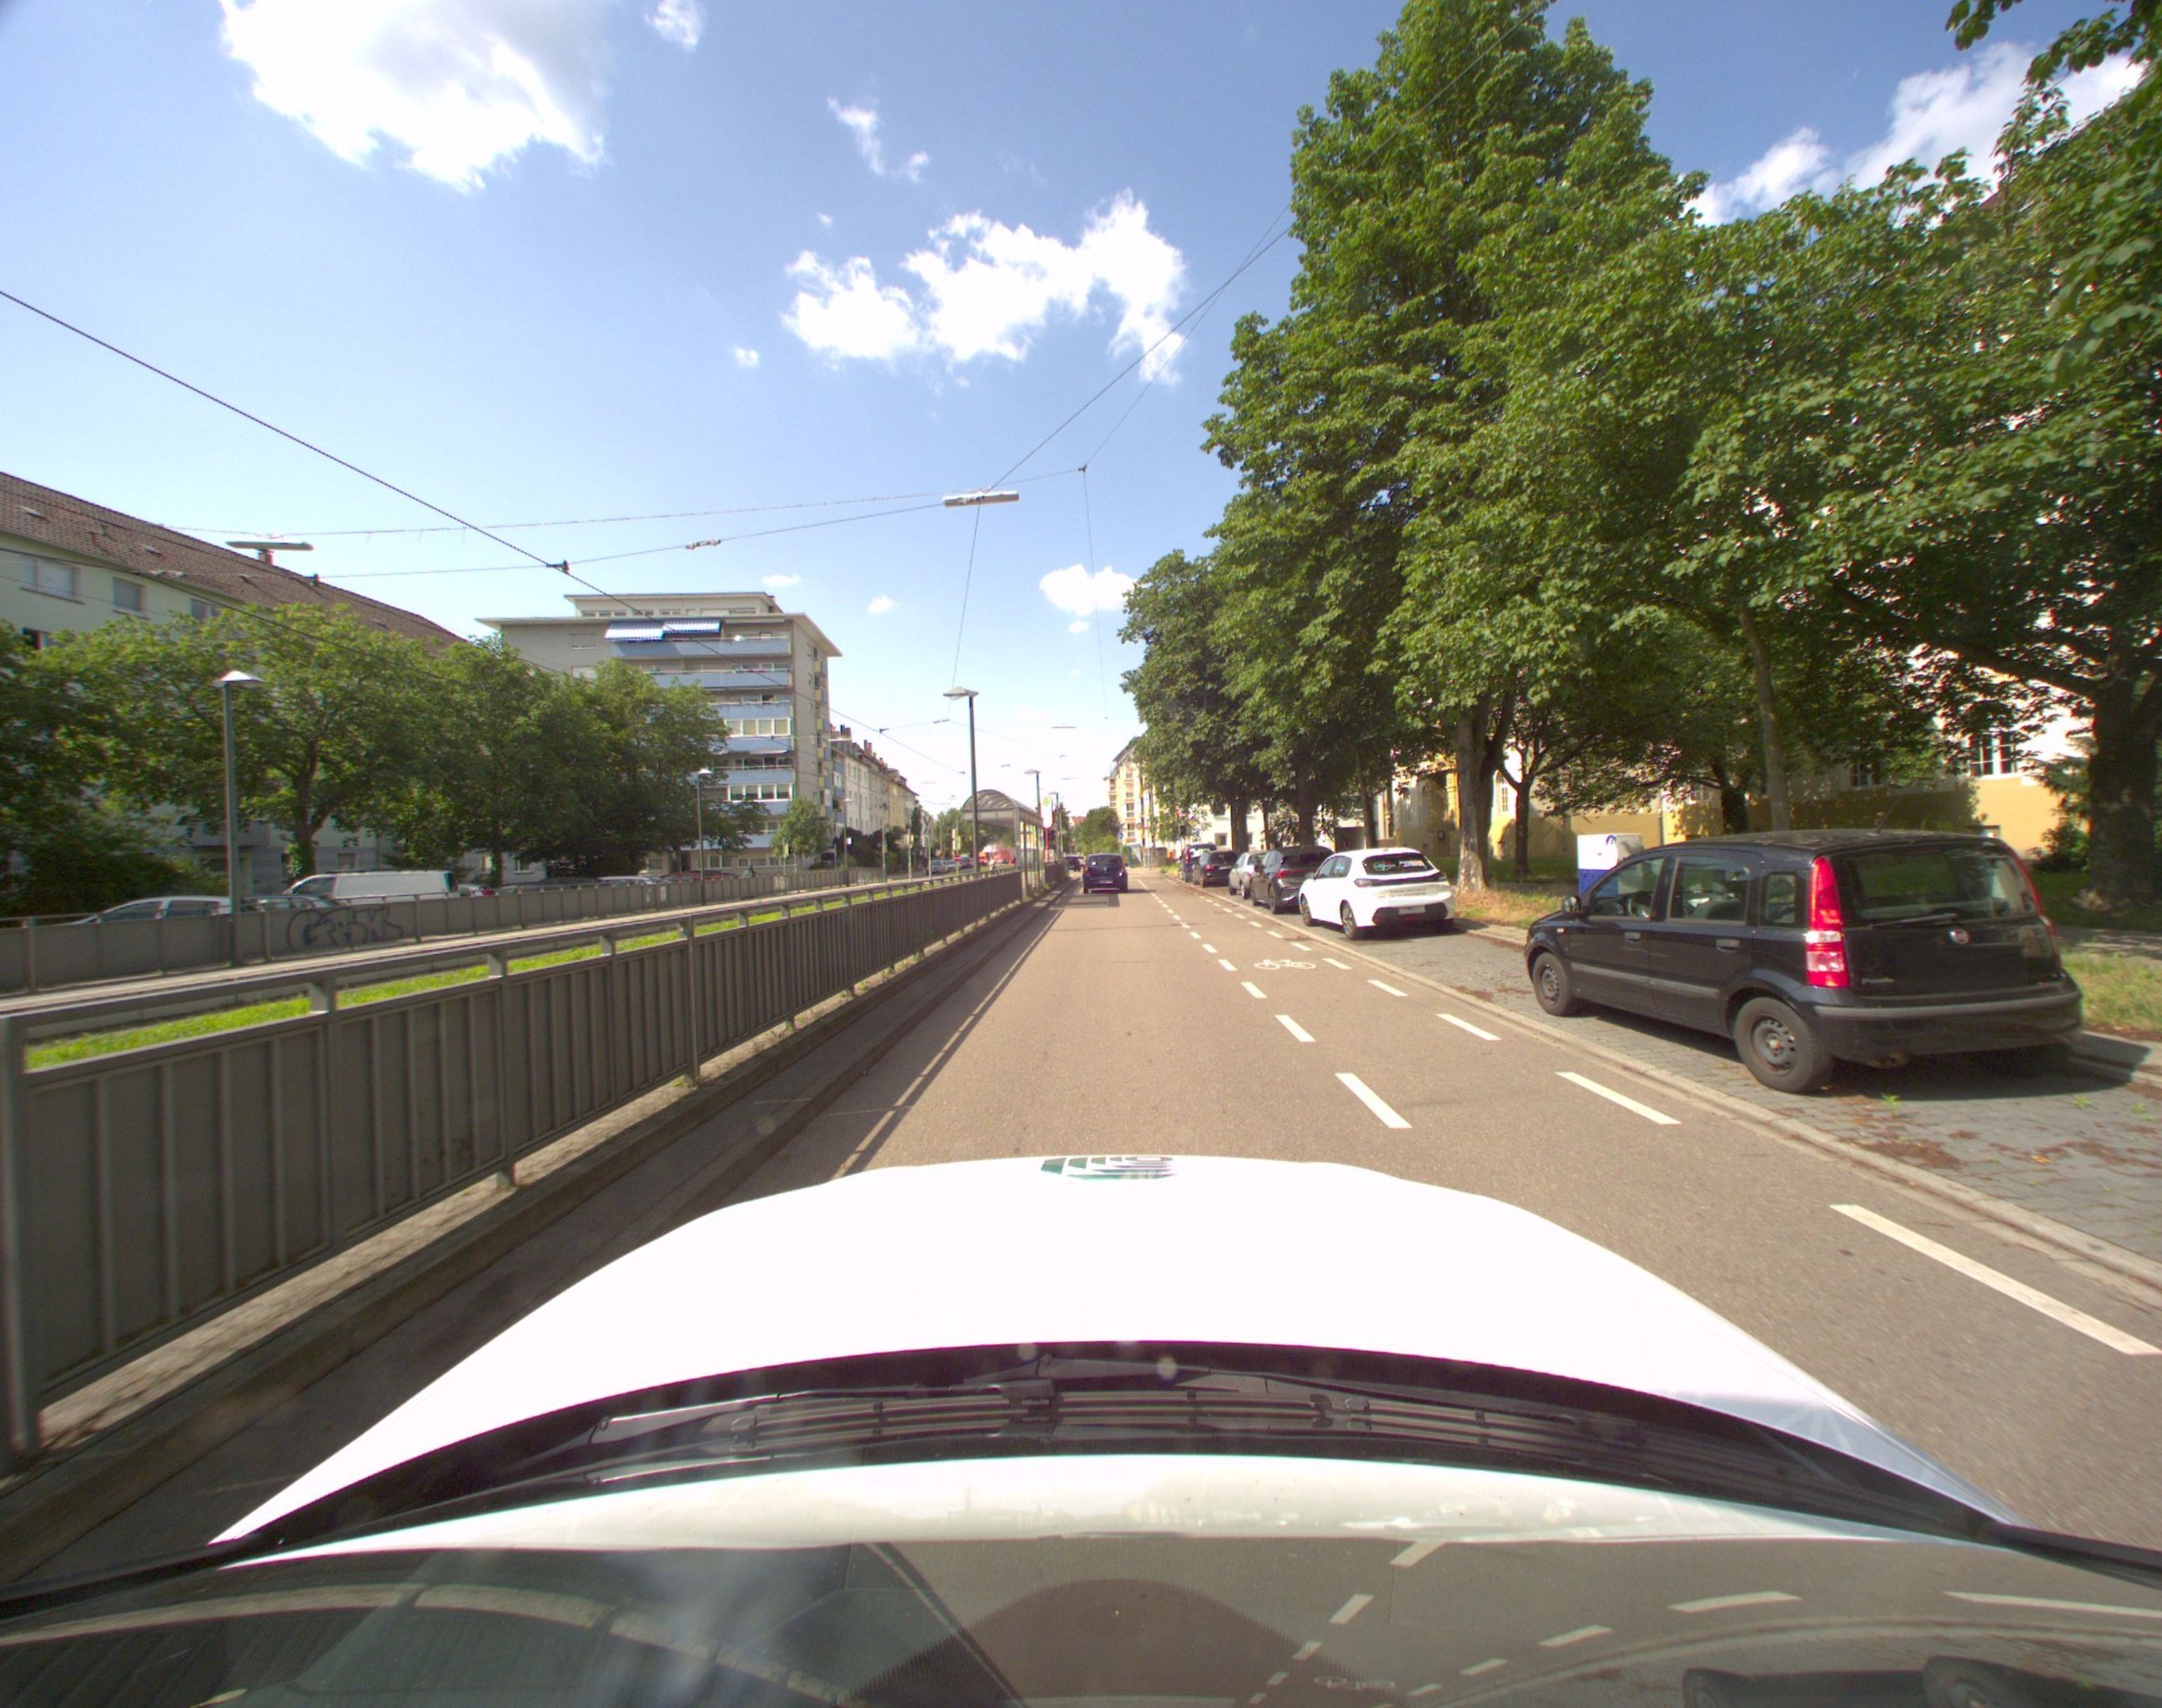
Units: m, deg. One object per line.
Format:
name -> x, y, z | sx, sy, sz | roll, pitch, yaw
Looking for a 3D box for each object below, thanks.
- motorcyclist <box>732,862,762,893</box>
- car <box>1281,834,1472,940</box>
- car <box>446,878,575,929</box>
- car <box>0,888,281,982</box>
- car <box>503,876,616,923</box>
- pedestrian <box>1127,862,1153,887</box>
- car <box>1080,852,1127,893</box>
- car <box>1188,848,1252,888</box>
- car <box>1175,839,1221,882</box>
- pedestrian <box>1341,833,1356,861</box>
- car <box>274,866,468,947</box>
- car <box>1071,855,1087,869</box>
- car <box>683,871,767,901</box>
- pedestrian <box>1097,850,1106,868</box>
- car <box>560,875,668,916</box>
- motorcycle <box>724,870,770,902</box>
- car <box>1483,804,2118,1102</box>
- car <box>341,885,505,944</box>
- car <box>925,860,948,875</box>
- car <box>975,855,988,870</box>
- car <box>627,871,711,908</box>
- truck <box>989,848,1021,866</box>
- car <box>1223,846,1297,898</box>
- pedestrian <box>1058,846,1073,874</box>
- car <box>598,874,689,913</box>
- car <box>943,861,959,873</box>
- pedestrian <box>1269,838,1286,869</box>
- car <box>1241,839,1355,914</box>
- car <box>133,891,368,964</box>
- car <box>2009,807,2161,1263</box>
motorcyclist -> -15.757, 1.100, 38.427 | 0.935, 1.339, 0.987 | -3, 0, 2
car -> 5.179, 0.526, 14.951 | 1.830, 1.523, 4.252 | -5, 0, -1
car -> -20.978, 1.769, 30.129 | 3.677, 1.579, 1.633 | -3, 0, -29
car -> -21.432, 1.758, 18.742 | 4.017, 1.639, 1.808 | -3, 1, -36
car -> -20.947, 1.794, 32.899 | 3.677, 1.579, 1.633 | -3, 0, -29
pedestrian -> 4.865, 1.648, 67.199 | 1.986, 2.014, 4.002 | -1, -1, 2
car -> 0.877, 0.714, 32.146 | 1.737, 1.507, 4.001 | -1, -1, 1
car -> 5.866, 0.527, 34.963 | 1.911, 1.442, 4.797 | -5, 0, 1
car -> 5.746, 0.286, 40.326 | 1.815, 1.896, 4.187 | -4, 0, 3
pedestrian -> 15.730, -0.419, 47.968 | 0.629, 1.596, 0.539 | -3, -1, -1
car -> -21.096, 1.495, 24.450 | 3.963, 2.070, 2.030 | -3, 0, -30
car -> -0.187, 0.895, 90.421 | 1.618, 1.465, 3.507 | -1, -1, -3
car -> -20.418, 1.812, 46.795 | 4.153, 1.394, 1.591 | -3, 0, -37
pedestrian -> 2.211, 0.529, 86.435 | 0.699, 1.789, 1.029 | -5, 0, -3
car -> -20.569, 1.777, 36.053 | 4.039, 1.514, 1.595 | -3, 0, -28
motorcycle -> -15.714, 1.471, 38.396 | 1.010, 1.339, 2.518 | -3, 0, 2
car -> 4.800, 0.559, 6.215 | 1.551, 1.461, 3.557 | -6, -1, -1
car -> -21.649, 1.932, 27.023 | 3.964, 1.579, 1.702 | -3, 0, -31
car -> -15.997, 1.503, 90.435 | 1.988, 1.645, 3.997 | -1, -1, -2
car -> -16.294, 1.370, 133.990 | 1.991, 2.275, 4.824 | 1, 0, -6
car -> -20.814, 1.761, 41.145 | 3.677, 1.579, 1.633 | -3, 0, -29
truck -> -15.187, 0.593, 163.367 | 2.573, 3.185, 8.428 | -4, 0, 22
car -> 5.624, 0.546, 25.960 | 1.584, 1.445, 3.599 | -4, 0, 2
pedestrian -> -0.987, 0.380, 51.572 | 0.843, 1.667, 0.798 | -3, -1, -1
car -> -20.723, 1.846, 38.660 | 3.677, 1.579, 1.633 | -3, 0, -29
car -> -16.958, 1.668, 106.399 | 1.764, 1.442, 3.994 | -1, -1, -4
pedestrian -> 11.287, -0.036, 46.725 | 0.741, 1.696, 0.767 | -3, 0, 2
car -> 5.311, 0.497, 20.552 | 1.718, 1.583, 4.680 | -4, 0, 2
car -> -21.617, 1.856, 21.442 | 4.014, 1.485, 1.593 | -3, 0, -32
car -> 4.476, 0.574, 1.022 | 1.684, 1.561, 4.309 | -5, 0, 2
